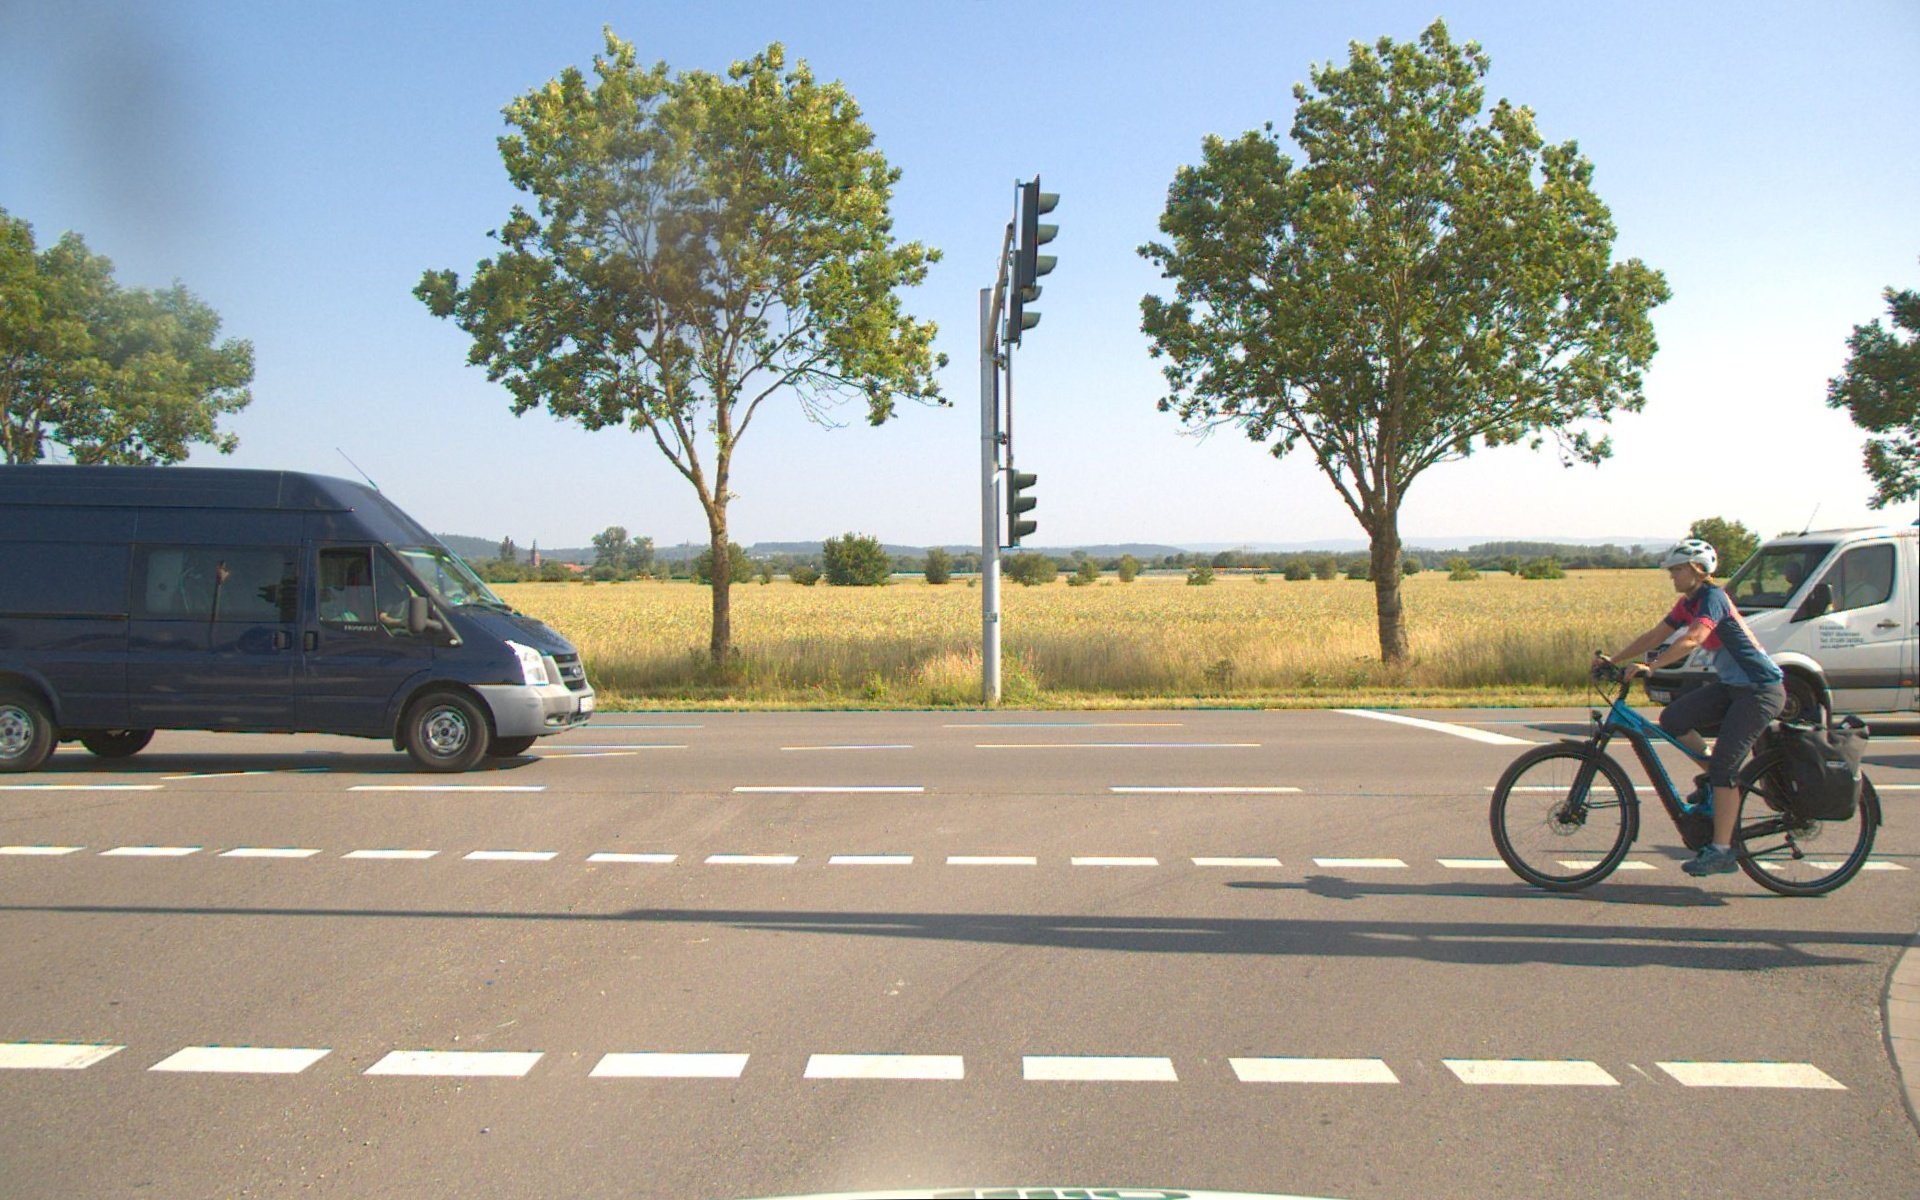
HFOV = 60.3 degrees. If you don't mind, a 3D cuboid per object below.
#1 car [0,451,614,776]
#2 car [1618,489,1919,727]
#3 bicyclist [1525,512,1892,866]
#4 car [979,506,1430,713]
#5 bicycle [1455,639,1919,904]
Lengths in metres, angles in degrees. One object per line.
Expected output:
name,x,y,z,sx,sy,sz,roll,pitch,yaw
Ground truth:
car,-6.133,0.131,14.814,5.613,2.668,2.033,-1,-1,0
car,10.803,0.113,18.857,5.838,2.536,1.999,1,-1,-3
bicyclist,3.676,0.400,8.253,1.254,1.629,1.164,0,1,-6
car,3.298,0.157,23.052,5.778,2.622,2.389,1,-1,-7
bicycle,3.631,0.805,8.146,2.113,1.207,0.889,0,-1,-3
